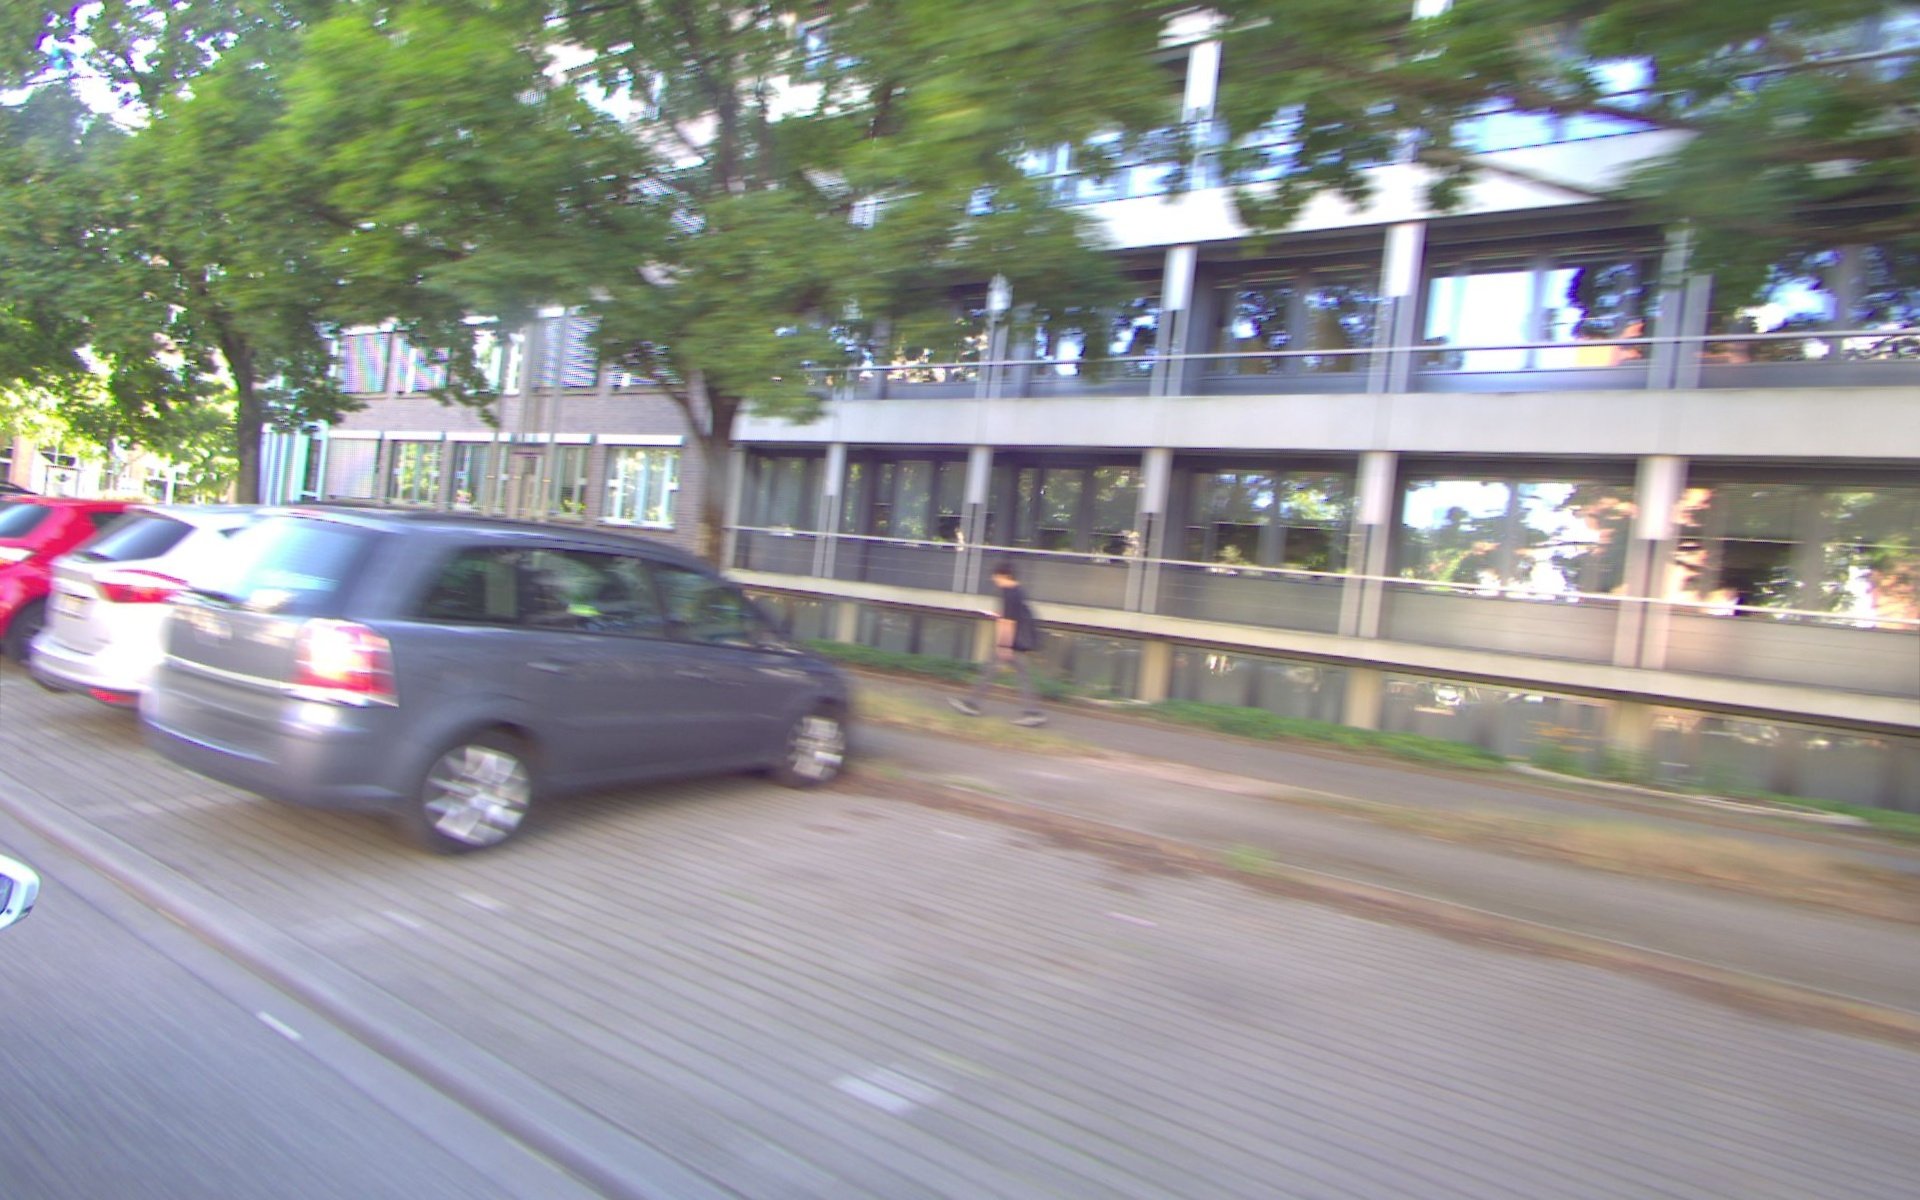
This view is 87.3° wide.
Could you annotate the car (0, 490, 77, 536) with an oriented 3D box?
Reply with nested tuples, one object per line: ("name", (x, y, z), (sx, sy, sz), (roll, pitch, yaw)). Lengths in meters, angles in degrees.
("car", (-39.250, -3.688, 42.330), (4.293, 1.584, 1.741), (4, -2, 30))

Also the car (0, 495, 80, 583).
("car", (-17.065, -1.136, 16.130), (1.626, 1.388, 4.119), (6, 1, 29))

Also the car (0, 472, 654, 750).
("car", (-4.662, 0.136, 8.001), (1.686, 1.604, 3.989), (6, 0, 34))

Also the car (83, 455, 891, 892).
("car", (-2.393, 0.347, 6.247), (1.875, 1.687, 4.132), (6, 0, 28))

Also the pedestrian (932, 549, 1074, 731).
("pedestrian", (0.484, 0.437, 11.051), (1.002, 1.821, 1.036), (6, 1, 31))

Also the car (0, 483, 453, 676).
("car", (-7.610, -0.141, 10.082), (1.805, 1.536, 4.132), (6, 0, 28))

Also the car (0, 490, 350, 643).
("car", (-9.461, -0.354, 11.323), (1.632, 1.480, 4.129), (6, 1, 28))

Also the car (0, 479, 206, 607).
("car", (-13.160, -0.829, 13.824), (1.632, 1.610, 4.129), (5, 1, 28))
